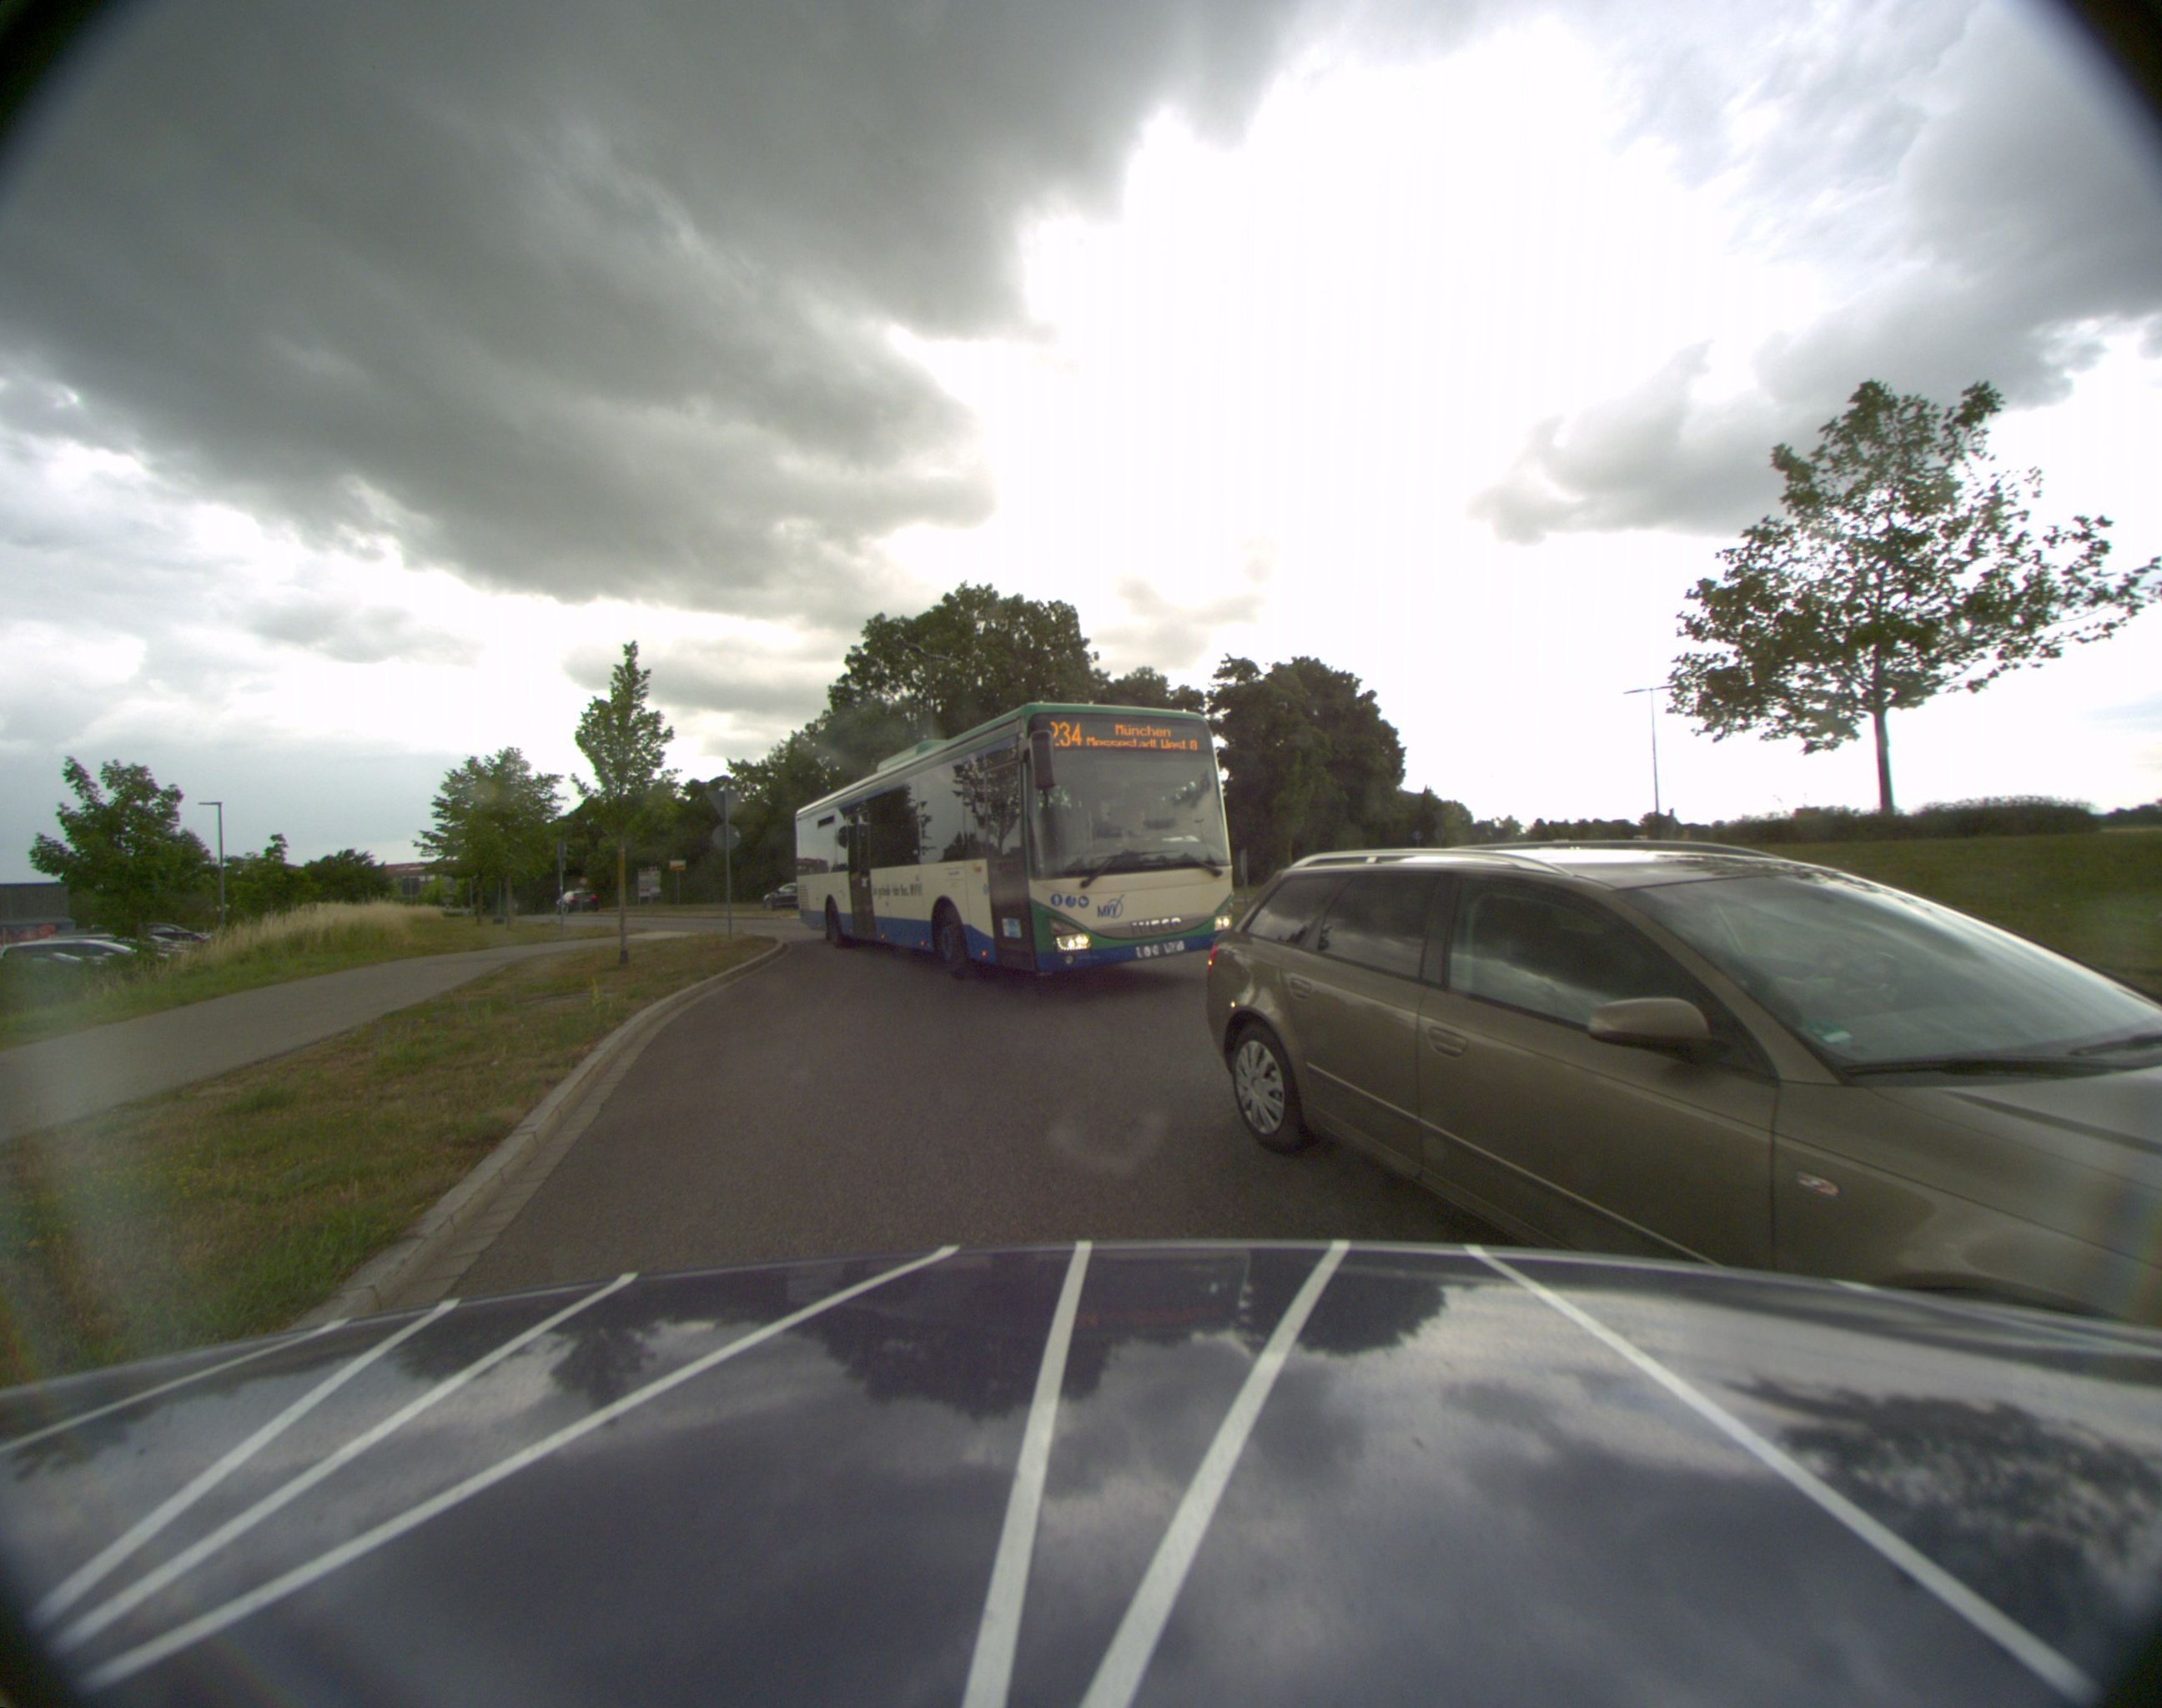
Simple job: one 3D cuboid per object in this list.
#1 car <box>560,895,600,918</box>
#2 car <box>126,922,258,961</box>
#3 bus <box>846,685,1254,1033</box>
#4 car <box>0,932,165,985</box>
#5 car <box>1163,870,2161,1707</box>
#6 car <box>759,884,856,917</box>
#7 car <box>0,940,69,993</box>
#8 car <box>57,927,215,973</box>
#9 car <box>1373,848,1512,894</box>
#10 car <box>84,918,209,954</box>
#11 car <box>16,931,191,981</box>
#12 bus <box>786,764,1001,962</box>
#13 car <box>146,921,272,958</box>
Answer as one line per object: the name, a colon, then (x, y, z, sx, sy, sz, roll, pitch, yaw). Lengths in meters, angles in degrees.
car: (-36.873, 3.835, 55.910, 3.572, 1.496, 1.647, -3, 0, 43)
car: (-43.785, 4.295, 37.550, 3.896, 1.455, 1.693, -2, 0, -35)
bus: (-0.980, -0.022, 10.504, 2.528, 3.240, 6.533, -6, 3, -32)
car: (-36.749, 3.792, 27.722, 3.896, 1.455, 1.693, -2, 0, -35)
car: (2.030, 0.826, 2.517, 1.784, 1.456, 4.534, -2, 0, -17)
car: (-11.953, 2.030, 33.197, 4.104, 1.299, 1.835, -3, -2, 32)
car: (-34.730, 3.596, 23.390, 3.896, 1.455, 1.693, -2, 0, -35)
car: (-40.438, 4.059, 32.665, 3.896, 1.455, 1.693, -2, 0, -35)
car: (12.827, 0.604, 27.116, 4.078, 1.422, 1.763, -2, 0, 3)
car: (-48.491, 4.222, 39.579, 1.879, 1.435, 4.008, -3, 0, 41)
car: (-38.637, 4.005, 30.194, 3.896, 1.455, 1.693, -2, 0, -35)
bus: (-4.074, 0.096, 15.597, 2.528, 3.240, 5.447, -6, 3, -31)
car: (-44.693, 4.368, 39.075, 3.896, 1.455, 1.693, -2, 0, -35)
